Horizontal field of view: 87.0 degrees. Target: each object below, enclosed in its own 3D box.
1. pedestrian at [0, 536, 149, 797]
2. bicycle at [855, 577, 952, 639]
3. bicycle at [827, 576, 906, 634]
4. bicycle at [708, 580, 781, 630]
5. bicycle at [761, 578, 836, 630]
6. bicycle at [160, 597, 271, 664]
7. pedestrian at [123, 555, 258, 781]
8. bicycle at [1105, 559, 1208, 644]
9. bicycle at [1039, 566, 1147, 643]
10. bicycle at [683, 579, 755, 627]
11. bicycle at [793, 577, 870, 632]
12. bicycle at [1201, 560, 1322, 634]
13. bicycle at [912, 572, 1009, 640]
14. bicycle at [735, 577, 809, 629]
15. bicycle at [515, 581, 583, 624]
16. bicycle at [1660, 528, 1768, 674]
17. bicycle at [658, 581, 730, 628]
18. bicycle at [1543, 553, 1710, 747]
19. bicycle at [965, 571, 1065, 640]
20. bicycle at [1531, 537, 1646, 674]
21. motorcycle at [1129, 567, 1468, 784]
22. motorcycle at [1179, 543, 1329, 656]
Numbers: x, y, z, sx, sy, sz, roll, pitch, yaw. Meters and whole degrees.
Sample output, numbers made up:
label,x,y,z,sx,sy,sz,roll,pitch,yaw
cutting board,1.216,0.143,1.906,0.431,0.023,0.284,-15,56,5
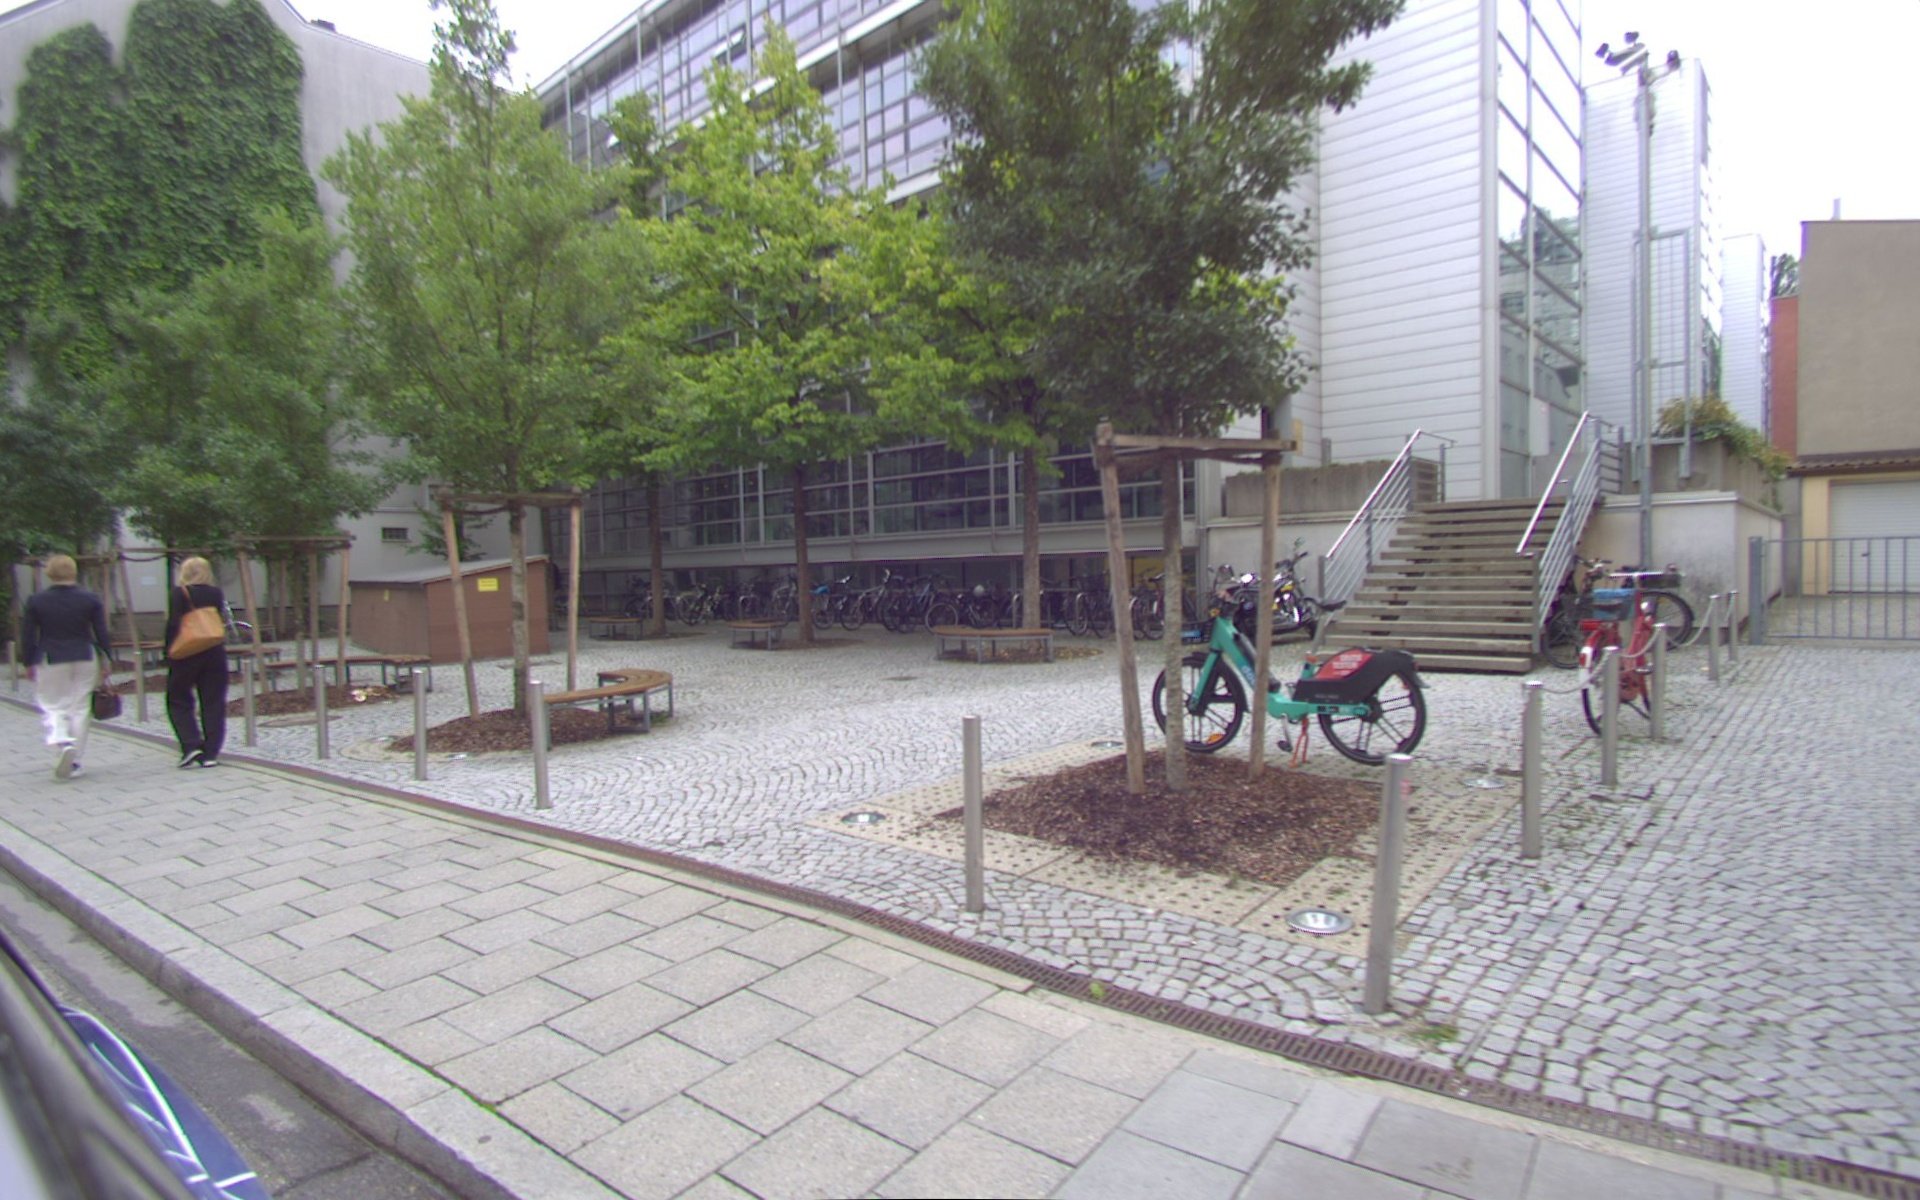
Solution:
label,x,y,z,sx,sy,sz,roll,pitch,yaw
pedestrian,-6.892,0.461,7.766,0.990,1.850,0.768,-1,2,37
bicycle,-1.056,0.123,19.353,0.705,1.066,1.877,0,3,41
bicycle,-1.867,0.085,20.359,0.628,1.068,1.556,-1,2,40
bicycle,-4.971,0.102,23.371,0.628,1.068,1.556,-1,2,40
bicycle,-3.519,0.075,22.107,0.628,1.068,1.556,-1,2,40
bicycle,-14.474,0.592,19.681,1.983,1.217,0.709,-1,3,20
pedestrian,-6.103,0.499,8.019,0.996,1.672,0.547,-1,2,37
bicycle,3.080,-0.006,15.761,0.698,1.212,1.877,0,3,41
bicycle,2.206,0.044,16.573,0.826,1.134,1.877,0,3,41
bicycle,-5.695,0.058,23.981,0.628,1.068,1.556,-1,2,40
bicycle,-2.664,0.078,21.180,0.628,1.068,1.556,-1,2,40
bicycle,4.691,-0.039,15.823,1.794,1.099,0.412,-1,1,42
bicycle,0.028,0.083,18.461,0.665,1.114,1.877,0,3,41
bicycle,-4.174,0.052,22.549,0.628,1.068,1.556,-1,2,40
bicycle,-11.827,0.059,29.148,0.602,1.150,1.702,0,2,43
bicycle,7.606,-0.066,10.211,0.765,1.260,2.826,-1,3,37
bicycle,-6.395,0.093,24.387,0.628,1.068,1.556,-1,2,40
bicycle,4.882,0.284,7.353,0.747,1.181,1.954,0,3,41
bicycle,0.989,0.073,17.654,0.708,1.083,1.877,0,3,41
bicycle,6.957,-0.019,11.106,0.765,1.260,3.195,-1,3,37
motorcycle,2.087,0.407,6.464,1.981,1.181,0.570,0,3,43
motorcycle,4.153,-0.058,14.135,0.969,1.422,2.637,0,2,41
